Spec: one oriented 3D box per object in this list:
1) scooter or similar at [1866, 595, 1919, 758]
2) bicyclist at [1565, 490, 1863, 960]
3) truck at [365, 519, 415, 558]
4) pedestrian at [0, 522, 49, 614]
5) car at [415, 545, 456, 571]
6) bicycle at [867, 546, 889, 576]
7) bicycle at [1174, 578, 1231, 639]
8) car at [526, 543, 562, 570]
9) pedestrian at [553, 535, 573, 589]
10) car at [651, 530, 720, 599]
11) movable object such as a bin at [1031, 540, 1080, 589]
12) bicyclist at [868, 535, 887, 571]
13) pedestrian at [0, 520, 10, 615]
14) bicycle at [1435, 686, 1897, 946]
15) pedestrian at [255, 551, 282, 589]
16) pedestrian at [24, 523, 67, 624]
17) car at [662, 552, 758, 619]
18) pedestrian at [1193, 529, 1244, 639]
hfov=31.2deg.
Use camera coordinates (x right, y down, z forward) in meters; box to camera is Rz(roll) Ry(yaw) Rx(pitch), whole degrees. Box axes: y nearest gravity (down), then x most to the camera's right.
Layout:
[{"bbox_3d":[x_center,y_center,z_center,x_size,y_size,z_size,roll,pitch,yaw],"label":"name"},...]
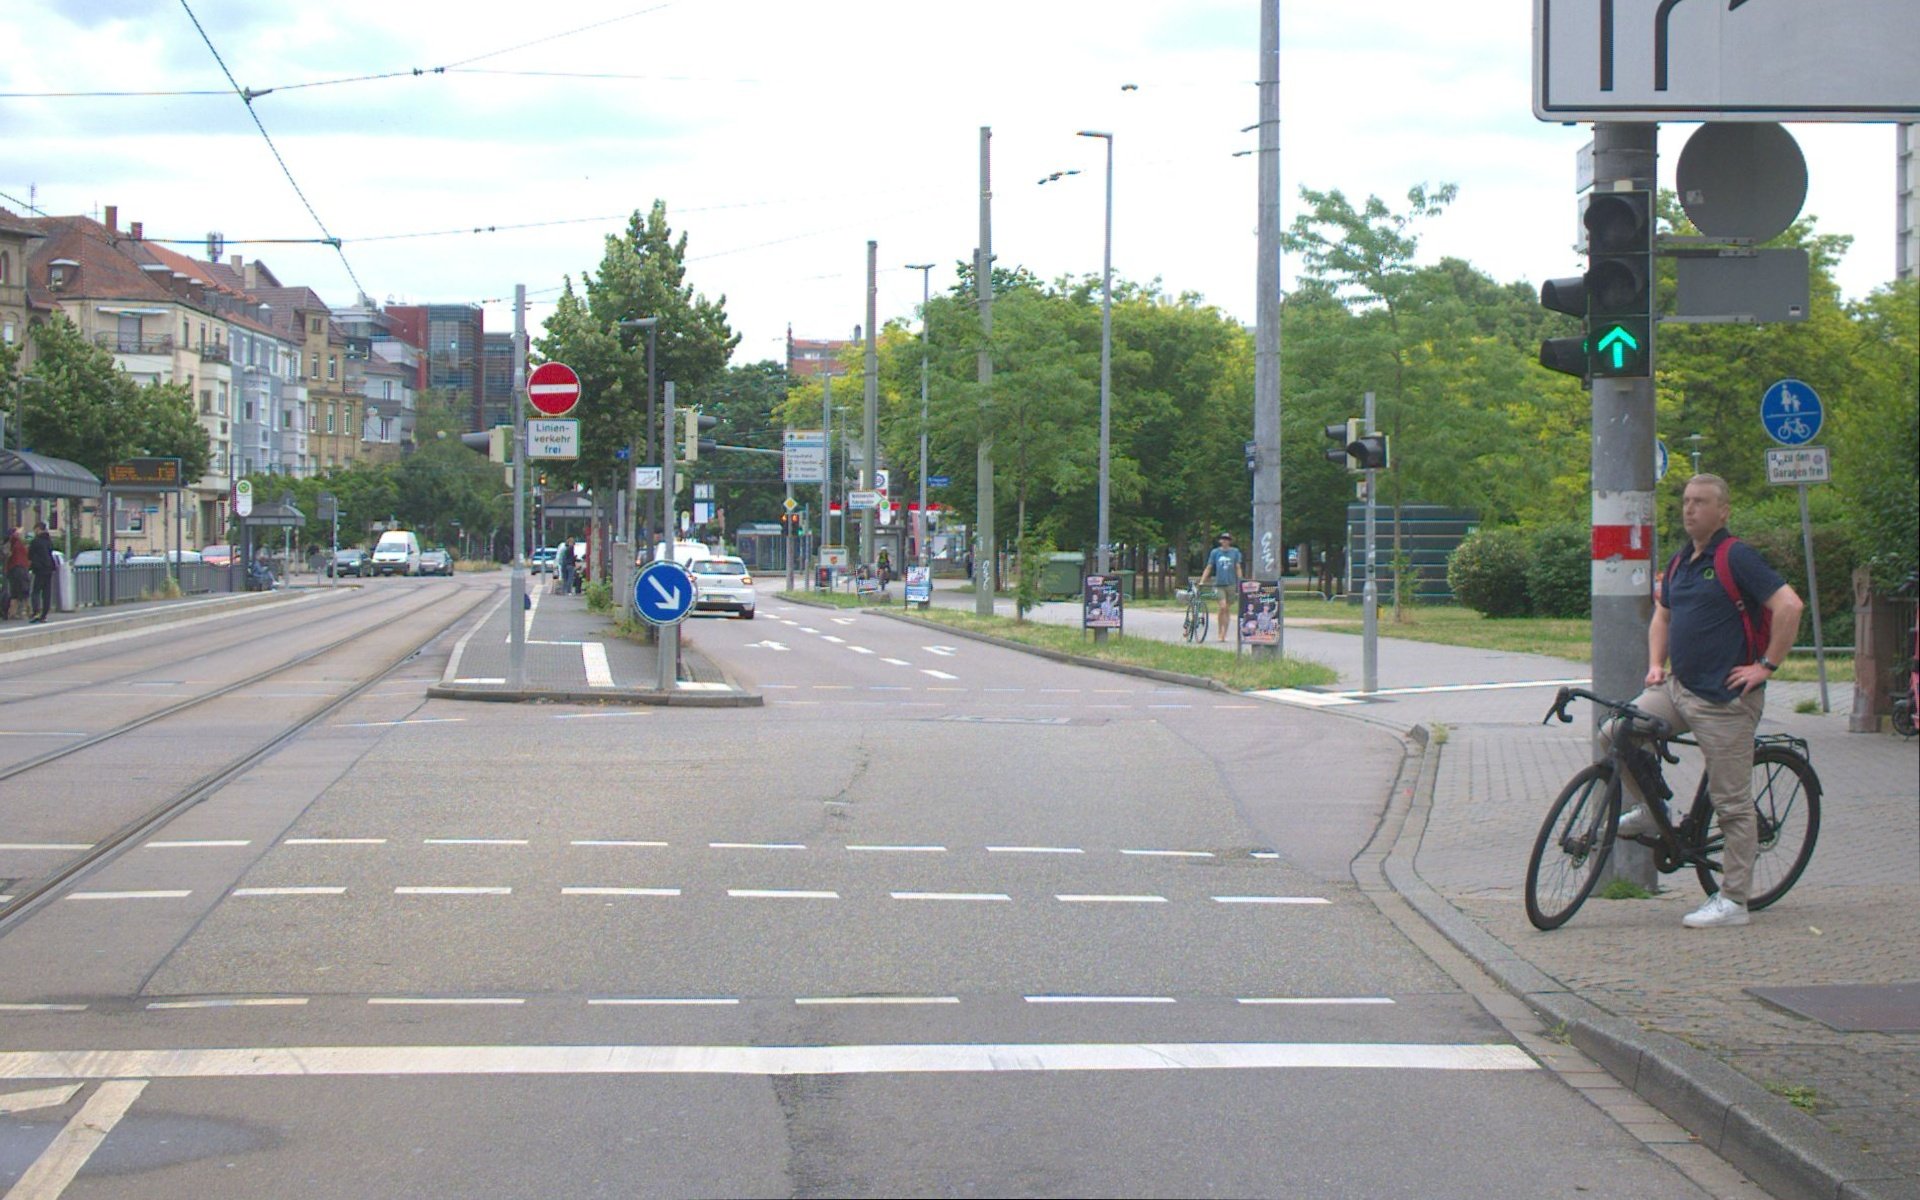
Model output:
[{"bbox_3d":[6.906,0.543,24.564,0.376,1.137,1.200,0,1,-9],"label":"scooter or similar"},{"bbox_3d":[2.988,0.467,13.653,0.680,1.789,0.891,0,1,-38],"label":"bicyclist"},{"bbox_3d":[-30.573,-3.273,184.393,1.788,2.025,5.396,1,1,0],"label":"truck"},{"bbox_3d":[-16.965,-0.585,62.315,0.768,1.654,1.025,0,1,-9],"label":"pedestrian"},{"bbox_3d":[-30.138,-2.411,197.554,1.770,1.488,3.887,1,1,0],"label":"car"},{"bbox_3d":[-3.164,-1.498,132.278,0.679,1.151,1.898,0,1,-6],"label":"bicycle"},{"bbox_3d":[4.112,0.131,58.436,0.654,0.999,1.779,0,1,-6],"label":"bicycle"},{"bbox_3d":[-23.264,-2.433,192.331,1.770,1.488,3.887,0,1,-4],"label":"car"},{"bbox_3d":[-11.498,-1.098,99.648,0.532,1.552,0.571,0,1,-3],"label":"pedestrian"},{"bbox_3d":[-7.995,-1.055,99.783,1.782,1.956,4.383,1,1,-7],"label":"car"},{"bbox_3d":[2.770,-1.023,99.694,1.282,1.385,1.159,0,0,-6],"label":"movable object such as a bin"},{"bbox_3d":[-3.177,-1.810,132.280,0.679,1.375,0.728,0,1,-6],"label":"bicyclist"},{"bbox_3d":[-16.789,-0.560,59.116,0.632,1.618,0.680,-1,1,-43],"label":"pedestrian"},{"bbox_3d":[2.855,0.836,13.820,1.862,0.921,0.796,0,1,-39],"label":"bicycle"},{"bbox_3d":[-23.127,-0.997,115.019,0.864,1.262,0.694,0,1,-9],"label":"pedestrian"},{"bbox_3d":[-15.683,-0.456,58.977,0.699,1.709,0.699,0,1,-15],"label":"pedestrian"},{"bbox_3d":[-5.796,-0.353,79.449,1.782,1.467,4.011,1,1,-10],"label":"car"},{"bbox_3d":[4.387,-0.278,58.329,0.739,1.863,0.682,0,1,-7],"label":"pedestrian"}]
